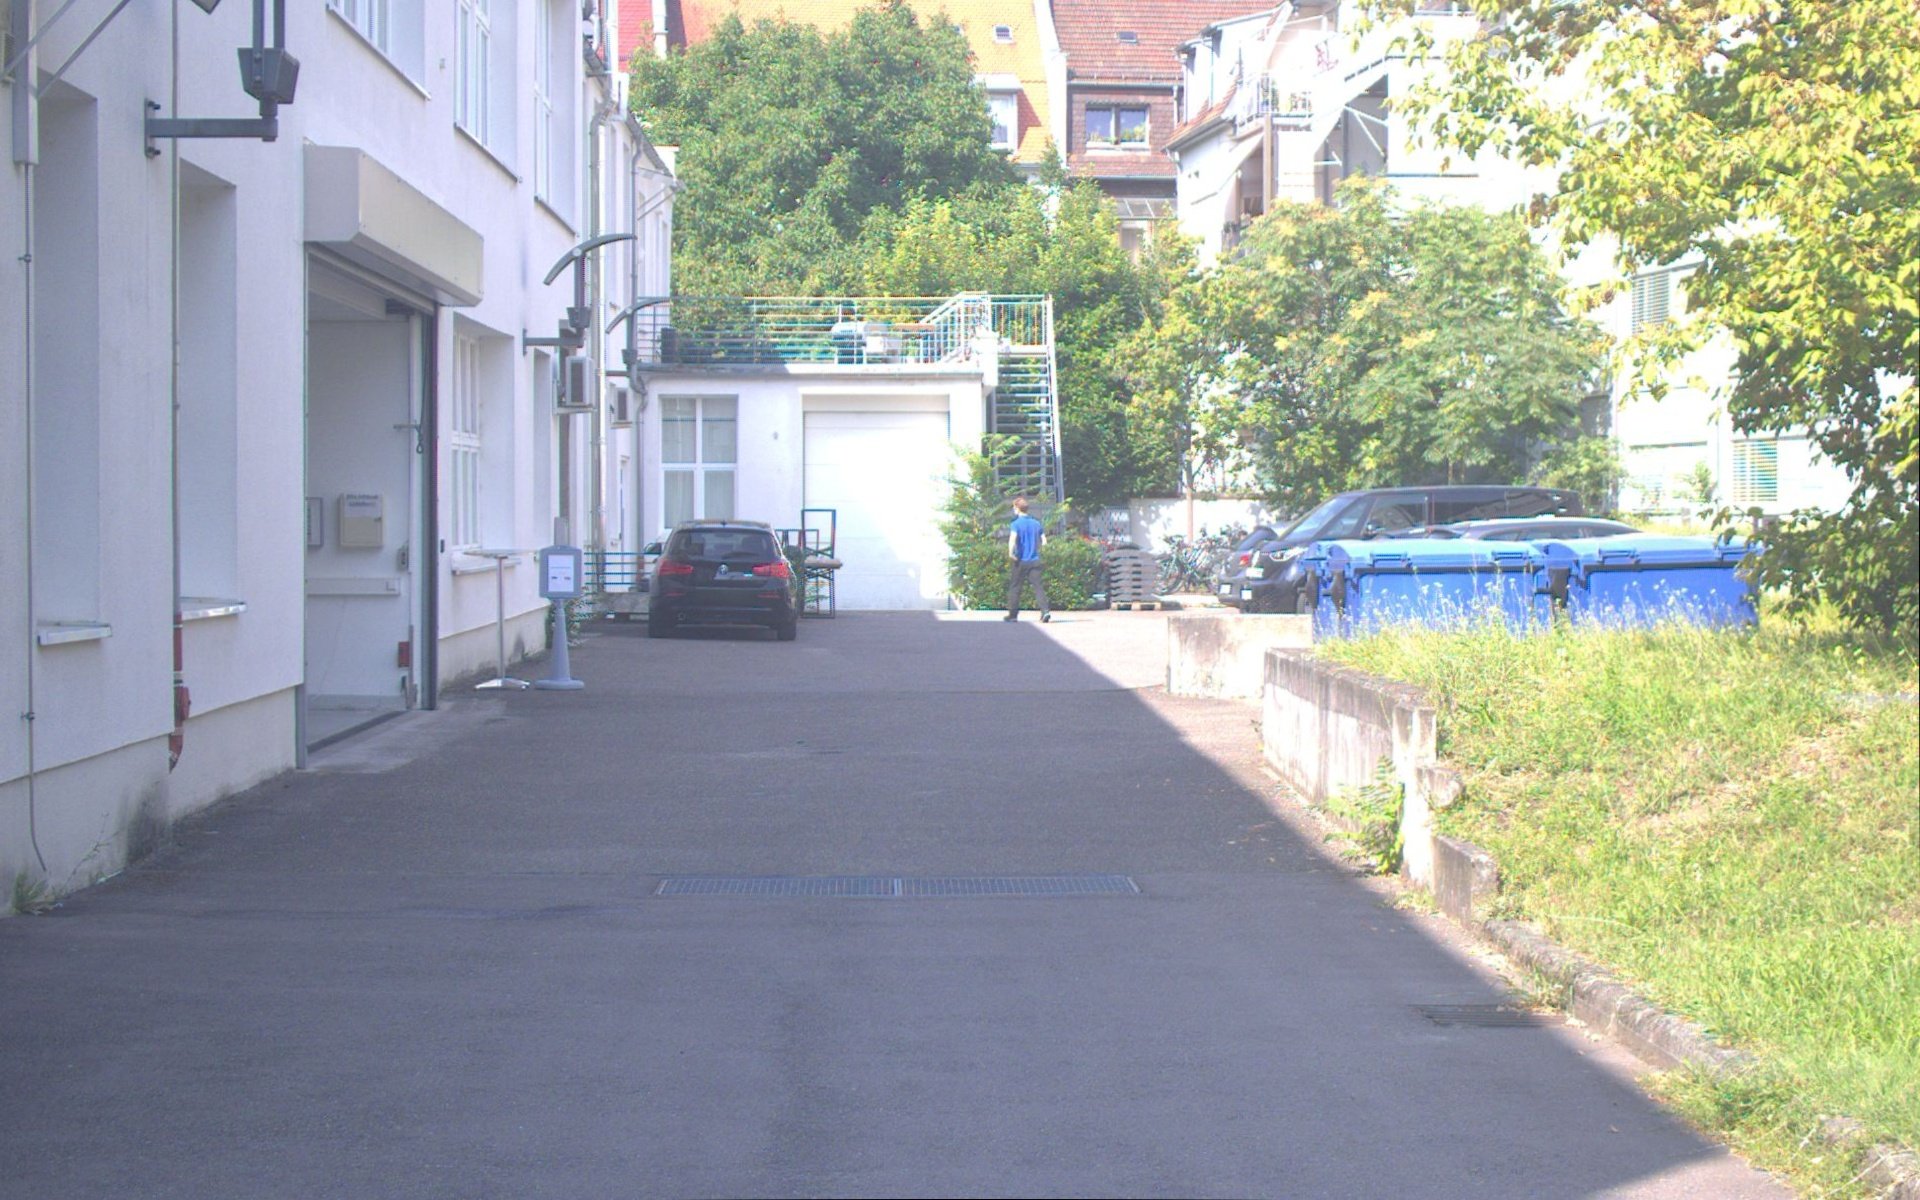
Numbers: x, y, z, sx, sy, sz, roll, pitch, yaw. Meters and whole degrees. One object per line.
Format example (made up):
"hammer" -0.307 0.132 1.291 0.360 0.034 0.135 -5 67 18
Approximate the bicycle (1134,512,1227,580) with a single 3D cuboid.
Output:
"bicycle" 3.999 -0.984 62.453 1.623 1.210 0.424 -1 2 -6

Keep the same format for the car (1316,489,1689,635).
"car" 6.484 -0.461 41.364 4.116 1.686 1.771 0 1 -4

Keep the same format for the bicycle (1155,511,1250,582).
"bicycle" 4.208 -0.926 59.727 1.623 1.210 0.327 -1 1 1

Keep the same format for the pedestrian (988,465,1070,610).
"pedestrian" 0.966 -0.874 48.233 0.886 2.007 0.782 0 1 -23

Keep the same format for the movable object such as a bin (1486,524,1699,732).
"movable object such as a bin" 4.196 0.170 22.915 1.235 1.336 1.117 1 1 2

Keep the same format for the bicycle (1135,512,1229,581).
"bicycle" 3.946 -0.959 61.215 1.623 1.210 0.424 -1 2 -2

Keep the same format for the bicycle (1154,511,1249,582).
"bicycle" 4.234 -0.935 60.178 1.623 1.210 0.327 0 2 9

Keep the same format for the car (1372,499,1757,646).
"car" 6.737 -0.320 38.549 3.861 1.583 1.880 0 1 -6

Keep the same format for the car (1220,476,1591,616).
"car" 5.875 -0.721 45.555 4.499 1.788 1.884 -1 1 -10

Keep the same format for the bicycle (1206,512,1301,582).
"bicycle" 5.207 -0.942 60.950 1.624 1.210 0.424 0 2 12

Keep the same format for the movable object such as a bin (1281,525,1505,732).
"movable object such as a bin" 2.869 0.174 22.939 1.300 1.336 1.195 0 1 -2

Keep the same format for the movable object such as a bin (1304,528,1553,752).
"movable object such as a bin" 2.868 0.229 21.186 1.309 1.336 1.100 0 1 -4

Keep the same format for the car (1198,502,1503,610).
"car" 5.480 -0.626 48.438 3.931 1.477 1.775 -1 1 -10

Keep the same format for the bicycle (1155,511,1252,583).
"bicycle" 4.184 -0.913 59.111 1.623 1.210 0.327 -1 1 1

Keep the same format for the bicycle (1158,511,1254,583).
"bicycle" 4.244 -0.919 59.433 1.623 1.210 0.327 -1 1 1

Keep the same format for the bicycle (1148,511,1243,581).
"bicycle" 4.148 -0.943 60.541 1.624 1.210 0.327 0 2 12

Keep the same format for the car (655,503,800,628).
"car" -2.827 -0.441 42.300 1.688 1.454 3.923 0 1 -3

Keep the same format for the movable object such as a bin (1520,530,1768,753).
"movable object such as a bin" 4.200 0.241 21.198 1.226 1.336 1.077 0 1 -6
